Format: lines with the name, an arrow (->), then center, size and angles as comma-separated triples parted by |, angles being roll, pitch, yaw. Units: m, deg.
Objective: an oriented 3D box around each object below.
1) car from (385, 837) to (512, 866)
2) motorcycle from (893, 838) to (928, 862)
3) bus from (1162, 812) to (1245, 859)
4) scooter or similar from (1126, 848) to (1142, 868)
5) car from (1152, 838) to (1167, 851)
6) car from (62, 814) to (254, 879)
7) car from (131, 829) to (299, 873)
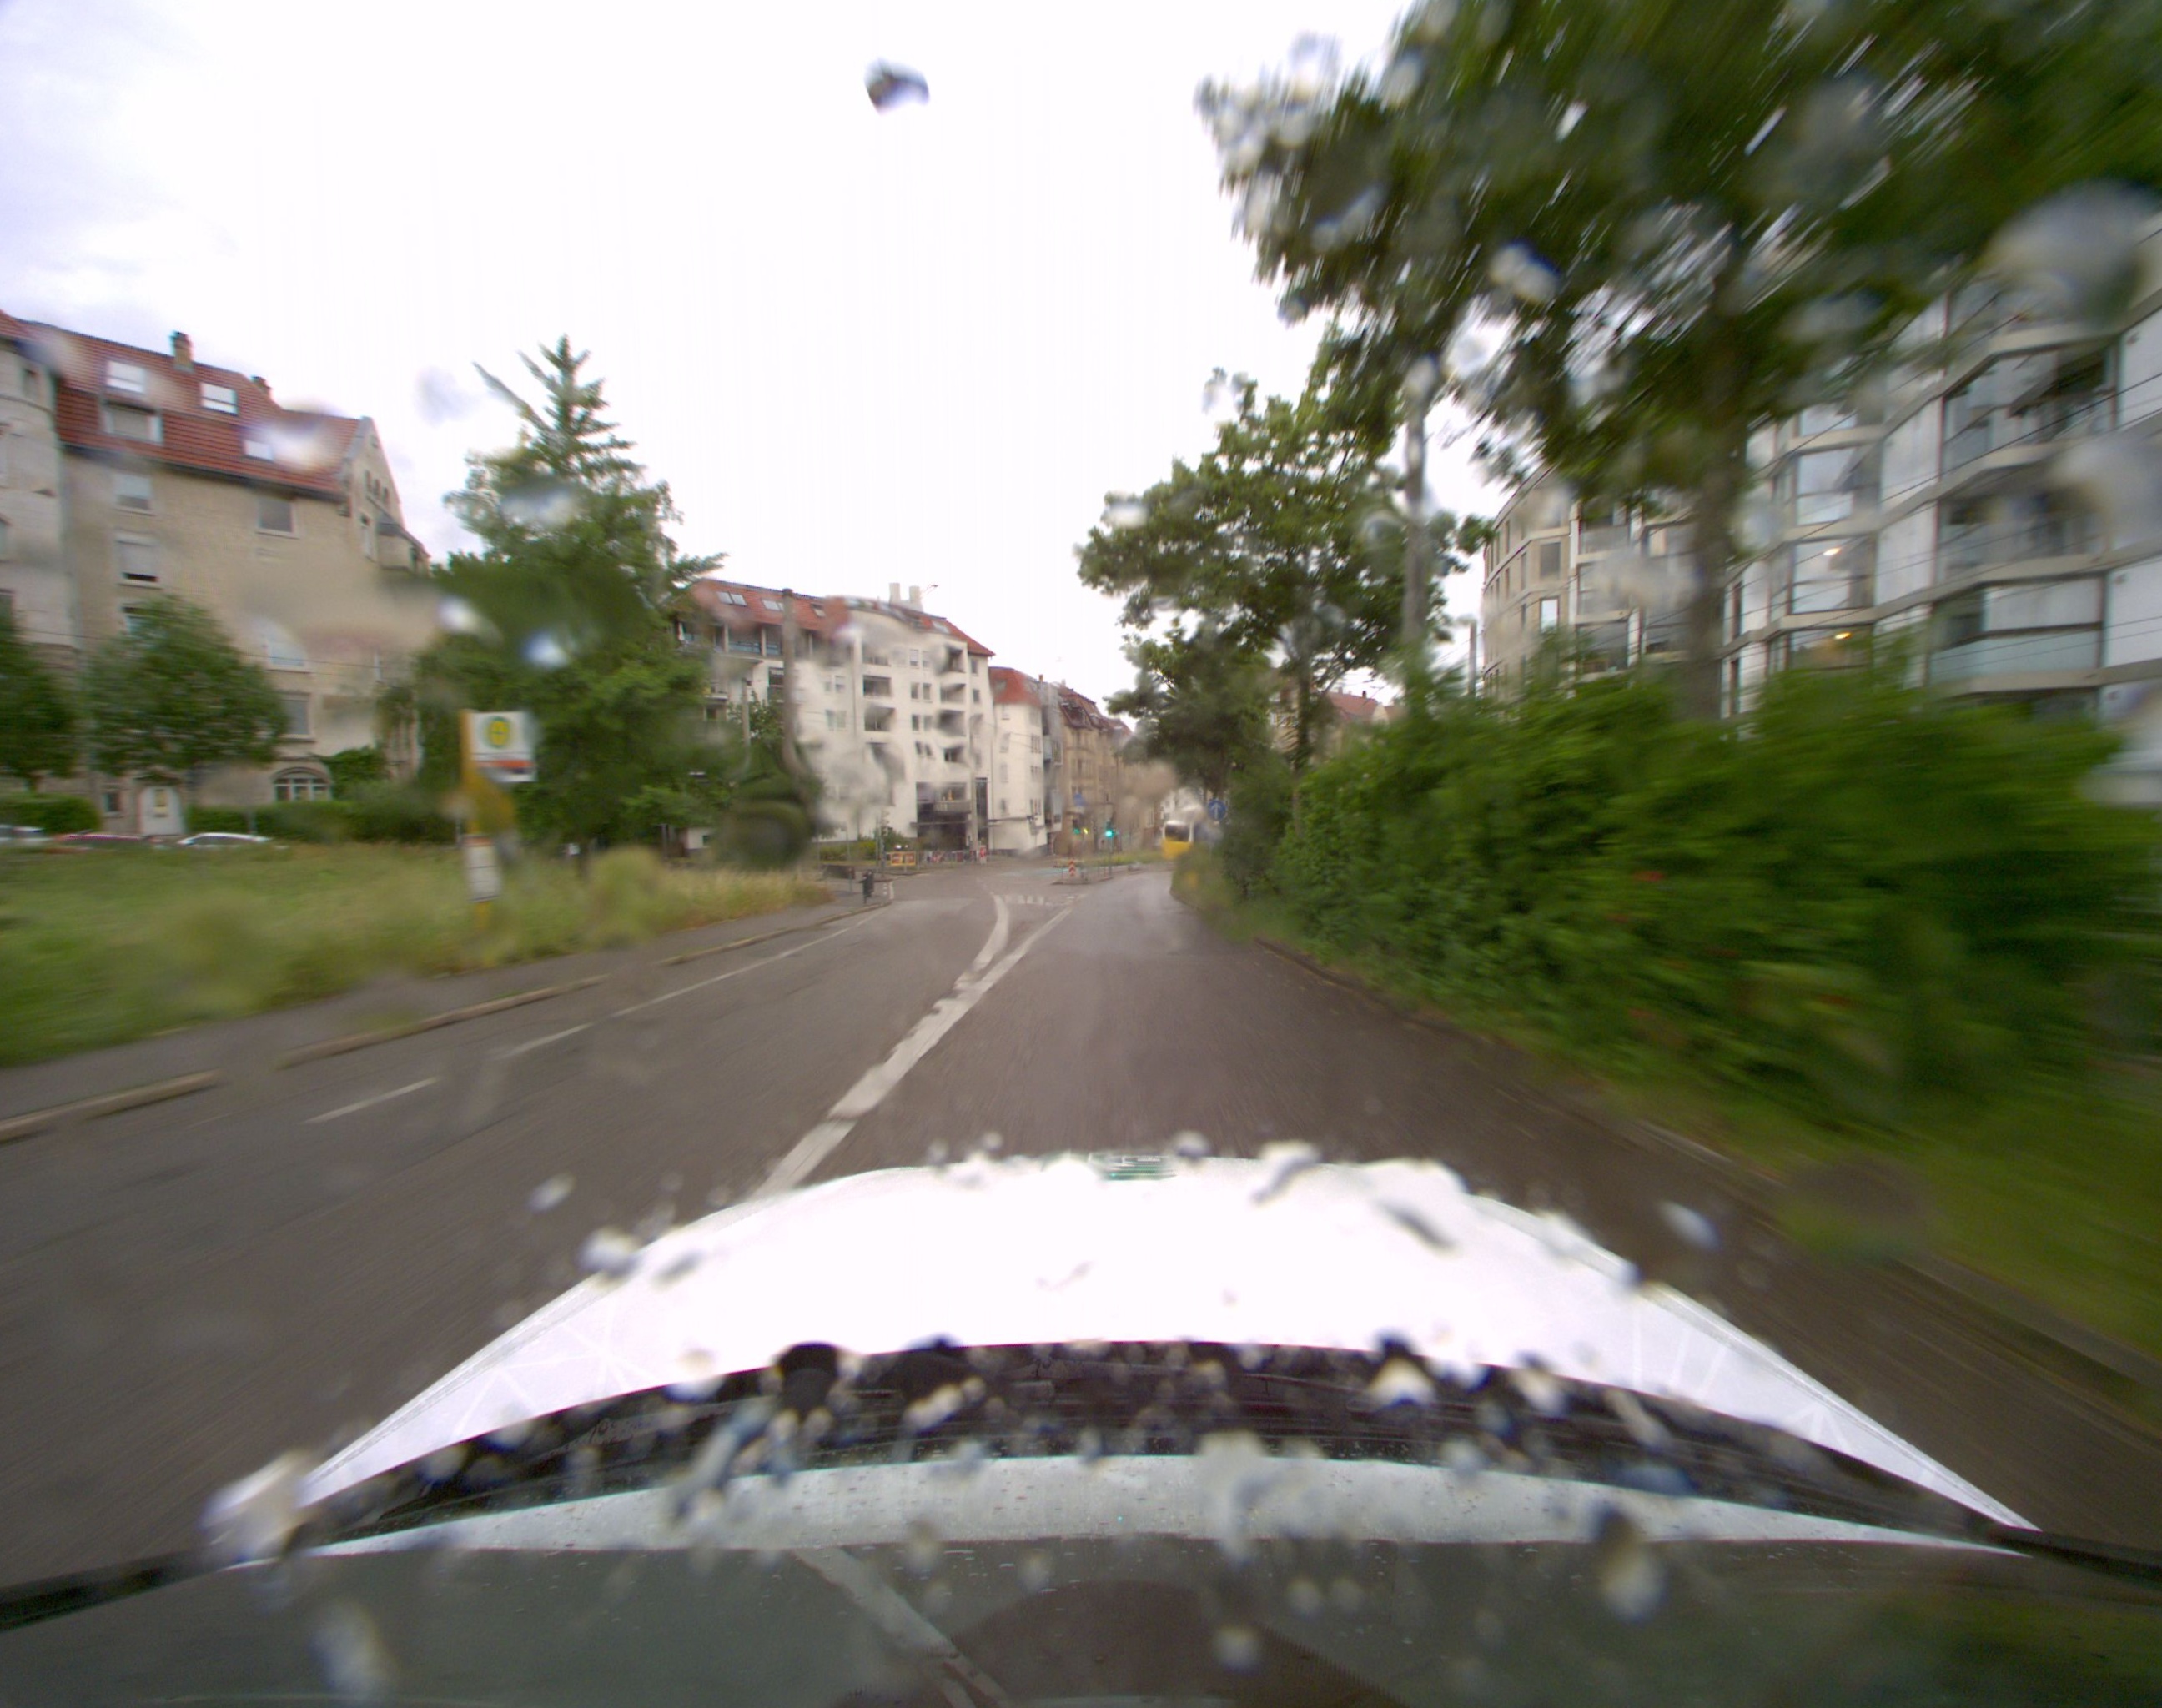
car -> -28.192, -0.139, 36.389 | 4.380, 1.223, 1.732 | 0, 1, -42
motorcycle -> -11.792, -0.269, 56.287 | 0.690, 1.550, 2.456 | 5, 3, 38
bus -> 9.937, -1.425, 65.153 | 2.565, 3.469, 9.166 | 1, 1, 37
scooter or similar -> 3.206, 0.223, 49.034 | 0.429, 1.113, 1.614 | 2, 1, 21
car -> 13.303, -1.575, 138.136 | 2.130, 2.136, 4.858 | 1, 0, 1
car -> -30.643, -0.266, 27.257 | 4.022, 2.013, 1.976 | -1, 1, -42
car -> -33.440, -0.123, 31.646 | 1.975, 1.593, 4.382 | 1, 1, 45
